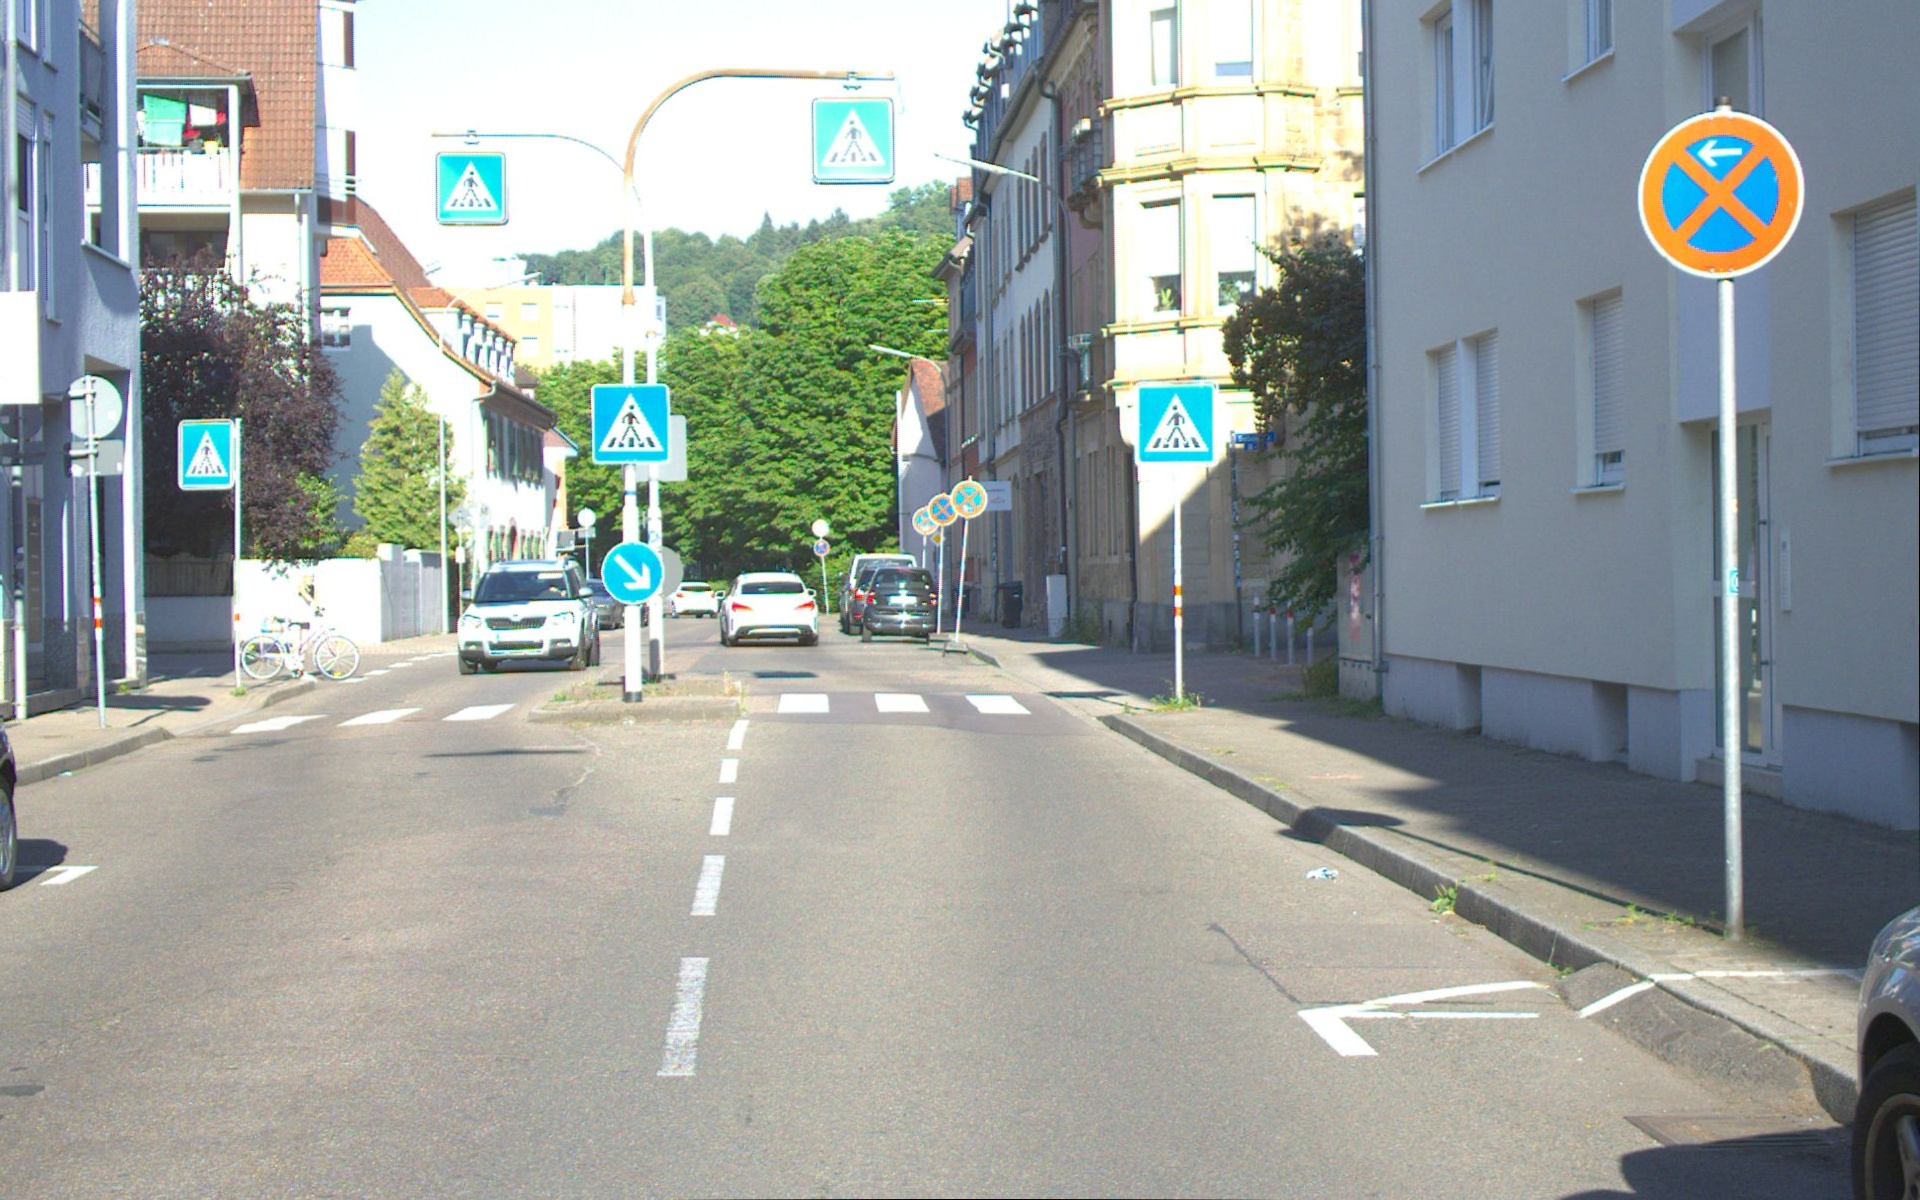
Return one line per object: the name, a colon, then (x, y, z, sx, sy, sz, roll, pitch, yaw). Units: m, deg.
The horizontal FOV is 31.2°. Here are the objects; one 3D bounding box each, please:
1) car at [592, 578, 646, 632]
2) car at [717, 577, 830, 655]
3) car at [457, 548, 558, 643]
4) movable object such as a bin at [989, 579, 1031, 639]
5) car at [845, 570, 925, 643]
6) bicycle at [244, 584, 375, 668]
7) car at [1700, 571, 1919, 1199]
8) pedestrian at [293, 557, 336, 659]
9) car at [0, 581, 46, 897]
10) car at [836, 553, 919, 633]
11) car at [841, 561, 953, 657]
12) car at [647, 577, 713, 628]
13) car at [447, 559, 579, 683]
car: (-10.975, 0.153, 110.809, 1.630, 1.625, 3.175, -1, 1, -4)
car: (-3.670, 0.301, 67.058, 1.993, 1.461, 4.001, 0, 0, -6)
car: (-9.744, -0.112, 74.240, 1.993, 2.007, 4.001, 0, 0, -5)
movable object such as a bin: (1.173, 0.215, 80.906, 0.871, 1.373, 0.685, -2, 1, -5)
car: (-1.772, 0.132, 81.414, 1.818, 1.625, 4.000, -1, 1, -1)
bicycle: (-9.372, 0.366, 49.558, 1.786, 1.180, 0.599, -1, 0, -2)
car: (2.627, 0.680, 5.402, 1.741, 1.487, 4.439, -2, 0, -3)
pedestrian: (-9.360, 0.111, 49.843, 0.556, 1.467, 0.601, -1, 0, -7)
car: (-5.347, 0.663, 15.327, 1.730, 1.494, 3.959, -1, 0, -4)
car: (-2.094, -0.205, 86.323, 1.841, 1.899, 4.001, -1, 1, -4)
car: (-1.308, 0.165, 70.059, 2.010, 1.846, 4.001, 1, 1, -5)
car: (-11.198, 0.074, 137.337, 1.993, 2.007, 4.001, 0, 0, -14)
car: (-6.634, 0.279, 51.061, 1.807, 1.696, 4.193, -2, 1, -7)
